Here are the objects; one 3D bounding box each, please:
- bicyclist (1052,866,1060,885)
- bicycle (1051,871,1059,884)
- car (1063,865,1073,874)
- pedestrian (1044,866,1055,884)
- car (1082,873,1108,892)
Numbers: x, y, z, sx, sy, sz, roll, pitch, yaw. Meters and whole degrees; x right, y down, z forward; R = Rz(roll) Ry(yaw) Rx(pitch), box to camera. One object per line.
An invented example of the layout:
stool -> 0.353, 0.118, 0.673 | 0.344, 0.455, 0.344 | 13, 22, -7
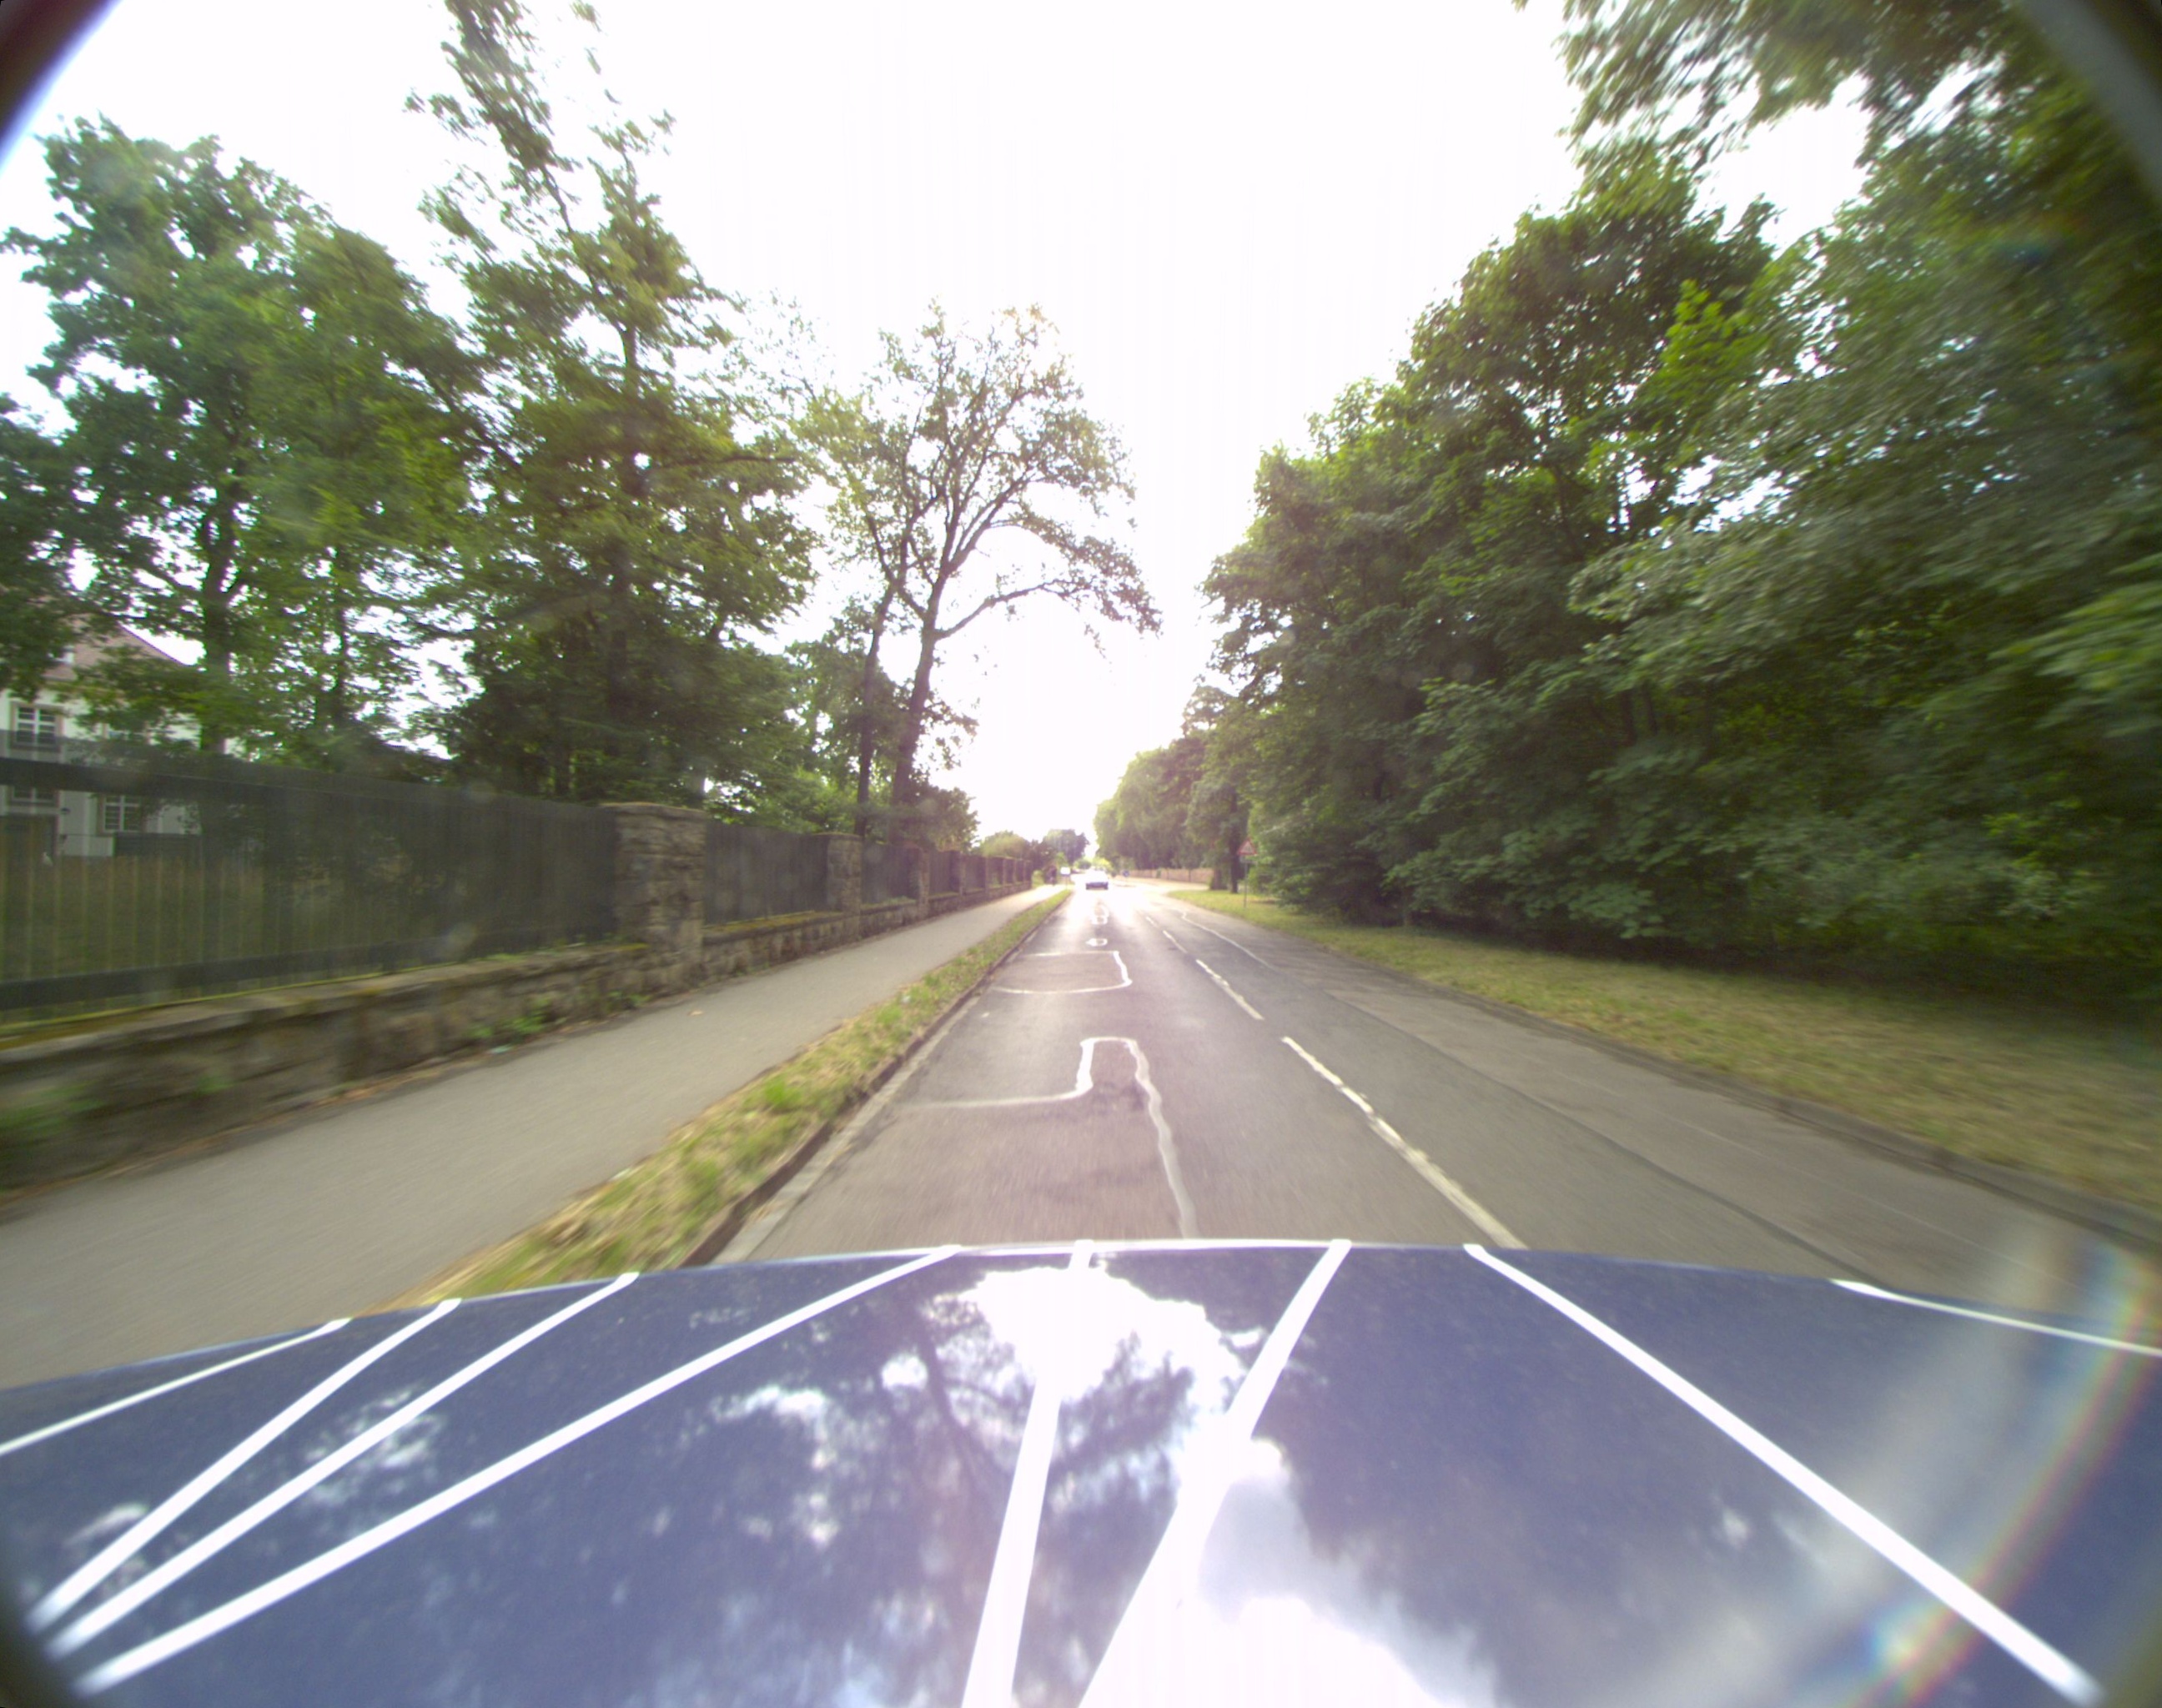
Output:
bicyclist -> -2.173, 1.828, 65.156 | 0.571, 1.578, 1.206 | 2, -1, 1
bicycle -> -2.196, 2.038, 65.132 | 0.559, 1.066, 2.158 | 2, -1, 1
car -> -2.403, 2.935, 142.323 | 1.799, 1.651, 4.001 | -1, -2, 1
pedestrian -> -3.005, 2.029, 73.029 | 0.831, 1.641, 0.626 | 1, -1, 17
car -> 1.097, 2.332, 61.225 | 1.965, 1.454, 4.531 | -1, -3, -1
